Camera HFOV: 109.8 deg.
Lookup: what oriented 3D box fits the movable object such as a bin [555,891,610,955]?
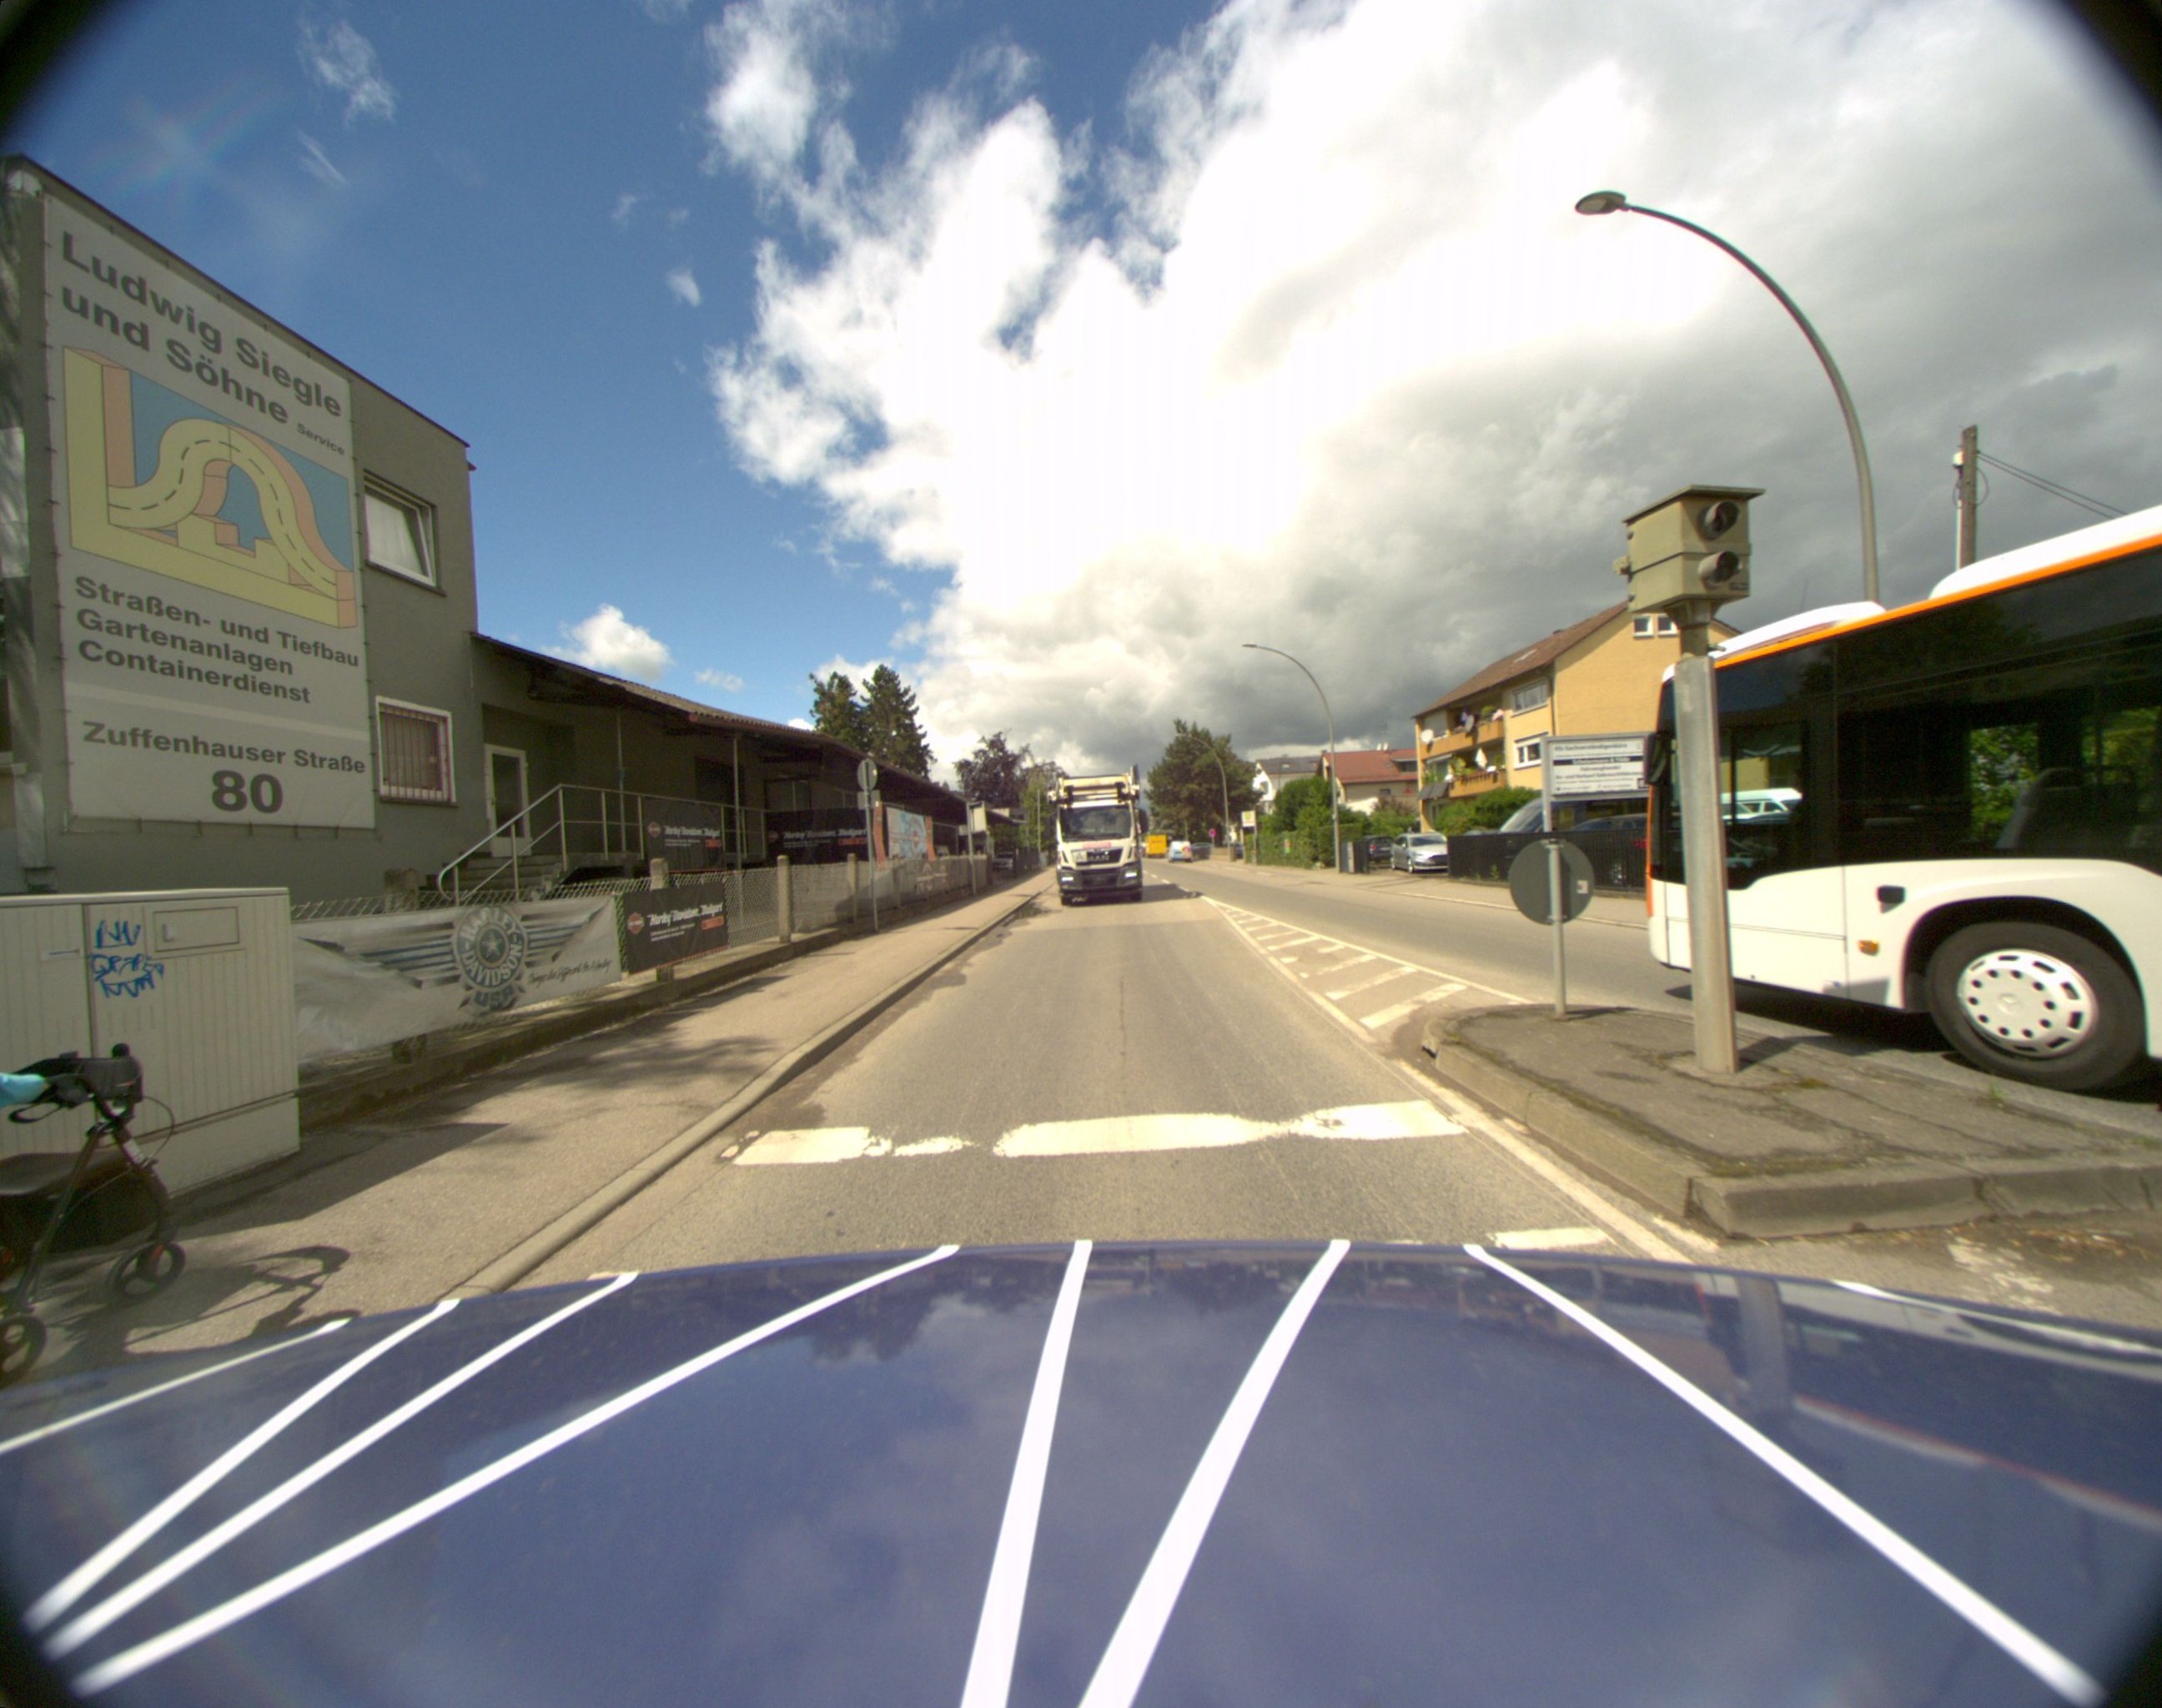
[{"bbox_3d":[-7.865,1.080,11.998,0.483,0.925,0.474,-3,2,1],"label":"movable object such as a bin"}]

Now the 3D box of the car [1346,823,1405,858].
[{"bbox_3d":[15.358,-0.691,39.833,1.830,1.656,3.522,-3,1,3],"label":"car"}]

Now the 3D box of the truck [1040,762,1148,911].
[{"bbox_3d":[0.587,-0.566,24.961,2.664,3.789,9.815,-3,1,3],"label":"truck"}]

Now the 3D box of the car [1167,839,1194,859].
[{"bbox_3d":[8.672,-0.454,66.397,1.729,1.671,3.999,-3,1,0],"label":"car"}]

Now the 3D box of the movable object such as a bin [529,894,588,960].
[{"bbox_3d":[-7.878,1.091,11.470,0.483,0.925,0.474,-3,2,1],"label":"movable object such as a bin"}]

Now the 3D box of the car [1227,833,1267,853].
[{"bbox_3d":[18.016,-1.207,82.759,2.003,2.002,3.991,-4,1,-30],"label":"car"}]

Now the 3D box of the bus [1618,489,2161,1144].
[{"bbox_3d":[6.409,-0.152,0.802,2.726,3.013,12.261,-2,1,-2],"label":"bus"}]

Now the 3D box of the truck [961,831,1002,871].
[{"bbox_3d":[-7.635,-0.262,58.690,2.091,2.812,5.202,-3,1,3],"label":"truck"}]

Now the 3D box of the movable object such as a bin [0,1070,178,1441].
[{"bbox_3d":[-3.502,1.242,2.321,0.671,0.867,0.747,-4,2,-27],"label":"movable object such as a bin"}]

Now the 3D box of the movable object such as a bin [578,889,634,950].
[{"bbox_3d":[-7.852,1.068,12.585,0.483,0.925,0.584,-3,2,1],"label":"movable object such as a bin"}]

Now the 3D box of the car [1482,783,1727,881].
[{"bbox_3d":[14.730,-0.613,21.666,5.363,2.371,2.104,-3,1,4],"label":"car"}]

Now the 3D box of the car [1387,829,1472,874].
[{"bbox_3d":[13.200,-0.146,29.050,1.887,1.450,4.352,-4,1,10],"label":"car"}]

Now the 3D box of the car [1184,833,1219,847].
[{"bbox_3d":[17.534,-2.051,110.925,4.734,1.669,2.218,-3,1,1],"label":"car"}]

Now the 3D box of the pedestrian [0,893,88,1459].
[{"bbox_3d":[-3.273,0.903,1.800,0.735,1.534,0.839,-4,2,-26],"label":"pedestrian"}]

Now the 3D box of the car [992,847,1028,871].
[{"bbox_3d":[-5.239,0.348,56.504,1.862,1.521,5.202,-3,1,3],"label":"car"}]
